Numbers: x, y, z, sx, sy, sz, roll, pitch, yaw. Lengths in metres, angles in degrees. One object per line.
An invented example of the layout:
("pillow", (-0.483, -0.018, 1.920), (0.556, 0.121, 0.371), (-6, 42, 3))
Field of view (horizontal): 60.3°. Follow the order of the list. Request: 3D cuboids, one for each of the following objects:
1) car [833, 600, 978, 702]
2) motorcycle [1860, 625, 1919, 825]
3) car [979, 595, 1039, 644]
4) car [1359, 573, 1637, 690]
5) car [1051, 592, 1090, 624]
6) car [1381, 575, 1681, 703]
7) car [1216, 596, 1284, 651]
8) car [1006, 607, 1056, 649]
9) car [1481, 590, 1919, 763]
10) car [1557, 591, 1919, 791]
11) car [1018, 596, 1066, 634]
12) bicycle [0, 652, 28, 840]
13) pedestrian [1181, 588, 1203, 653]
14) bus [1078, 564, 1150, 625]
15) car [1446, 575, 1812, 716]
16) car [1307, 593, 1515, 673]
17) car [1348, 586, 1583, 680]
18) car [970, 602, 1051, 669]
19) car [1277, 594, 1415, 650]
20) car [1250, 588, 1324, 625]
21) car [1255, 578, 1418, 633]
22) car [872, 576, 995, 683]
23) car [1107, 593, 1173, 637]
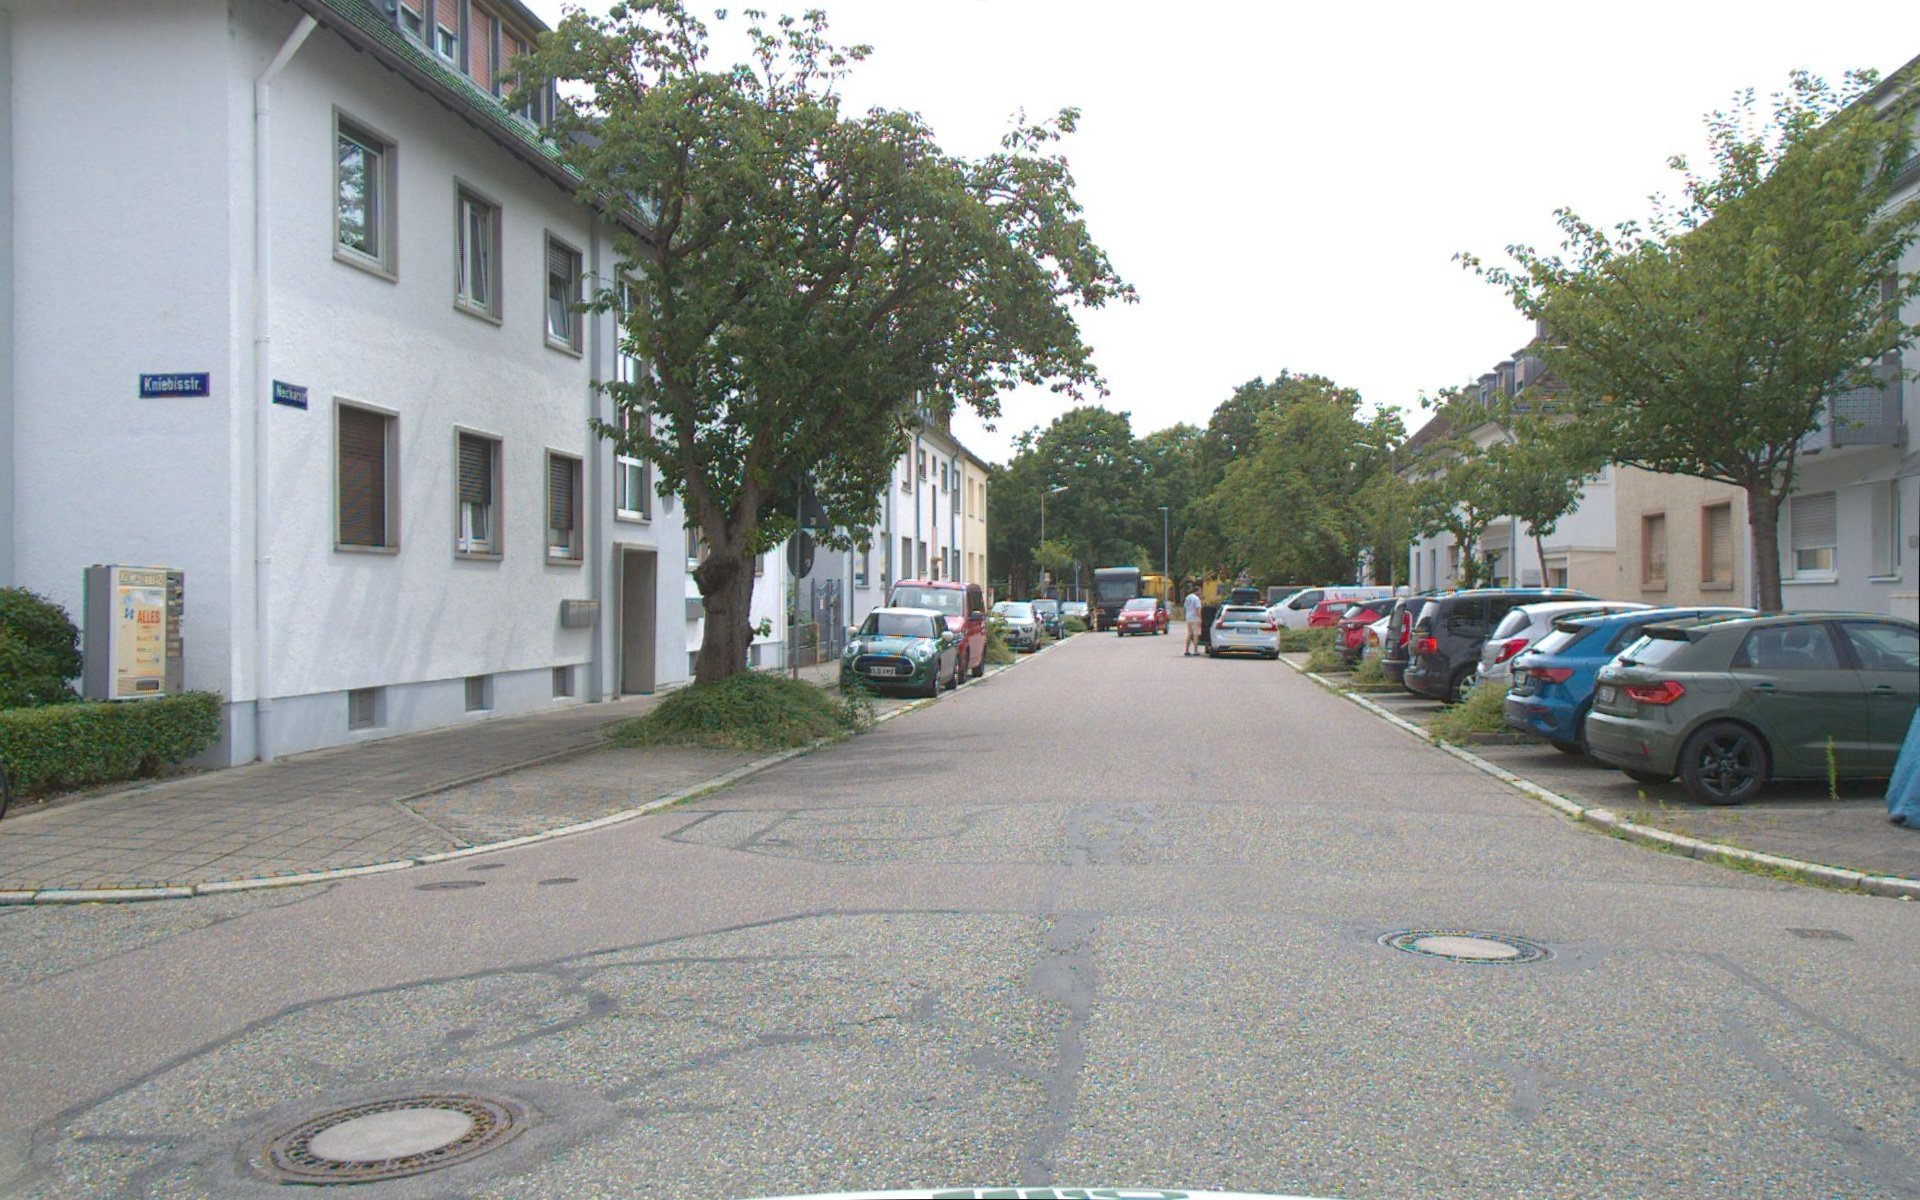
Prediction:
("car", (-0.886, 0.842, 28.940), (1.726, 1.581, 3.734), (-2, 0, 10))
("motorcycle", (7.091, 0.778, 10.578), (2.147, 1.232, 0.940), (0, 0, 5))
("car", (1.576, 0.596, 51.993), (1.616, 1.401, 3.724), (-2, 0, 5))
("car", (8.479, 0.490, 26.383), (3.902, 1.646, 1.869), (-3, 0, 8))
("car", (5.676, 0.402, 84.648), (1.586, 1.528, 4.003), (-2, 0, 8))
("car", (7.933, 0.537, 23.276), (3.668, 1.592, 1.774), (-3, 0, 8))
("car", (7.862, 0.618, 45.062), (1.651, 1.378, 3.829), (-2, 0, 8))
("car", (2.483, 0.925, 56.983), (1.506, 1.324, 3.724), (-2, 0, 5))
("car", (6.890, 0.699, 15.696), (3.443, 1.437, 1.560), (-3, 0, 7))
("car", (6.860, 0.666, 13.101), (3.668, 1.389, 1.774), (-3, 0, 8))
("car", (3.280, 0.590, 65.853), (1.616, 1.401, 3.724), (-2, 0, 7))
("bicycle", (-6.973, 0.977, 10.723), (1.599, 1.200, 0.435), (-2, -1, 3))
("pedestrian", (6.269, 0.553, 44.702), (0.511, 1.734, 0.445), (-2, -1, 11))
("bus", (7.841, -0.267, 83.391), (2.940, 2.809, 8.931), (-2, 0, 9))
("car", (8.290, 0.555, 20.802), (3.902, 1.545, 1.724), (-3, 0, 7))
("car", (9.265, 0.673, 34.226), (3.902, 1.464, 1.724), (-3, 0, 7))
("car", (9.366, 0.609, 30.885), (3.902, 1.545, 1.724), (-3, 0, 7))
("car", (1.273, 0.823, 40.358), (1.616, 1.487, 3.555), (-2, 0, 6))
("car", (11.782, 0.664, 50.704), (3.902, 1.545, 1.724), (-3, 0, 7))
("car", (16.150, 0.319, 81.864), (3.454, 1.630, 1.774), (-3, 0, 8))
("car", (12.024, 0.175, 53.118), (4.870, 1.545, 1.770), (-3, 0, 5))
("car", (-0.461, 0.573, 34.256), (1.951, 2.049, 4.524), (-1, 0, 7))
("car", (7.361, 0.581, 67.469), (1.951, 1.646, 4.003), (-3, 0, 16))
